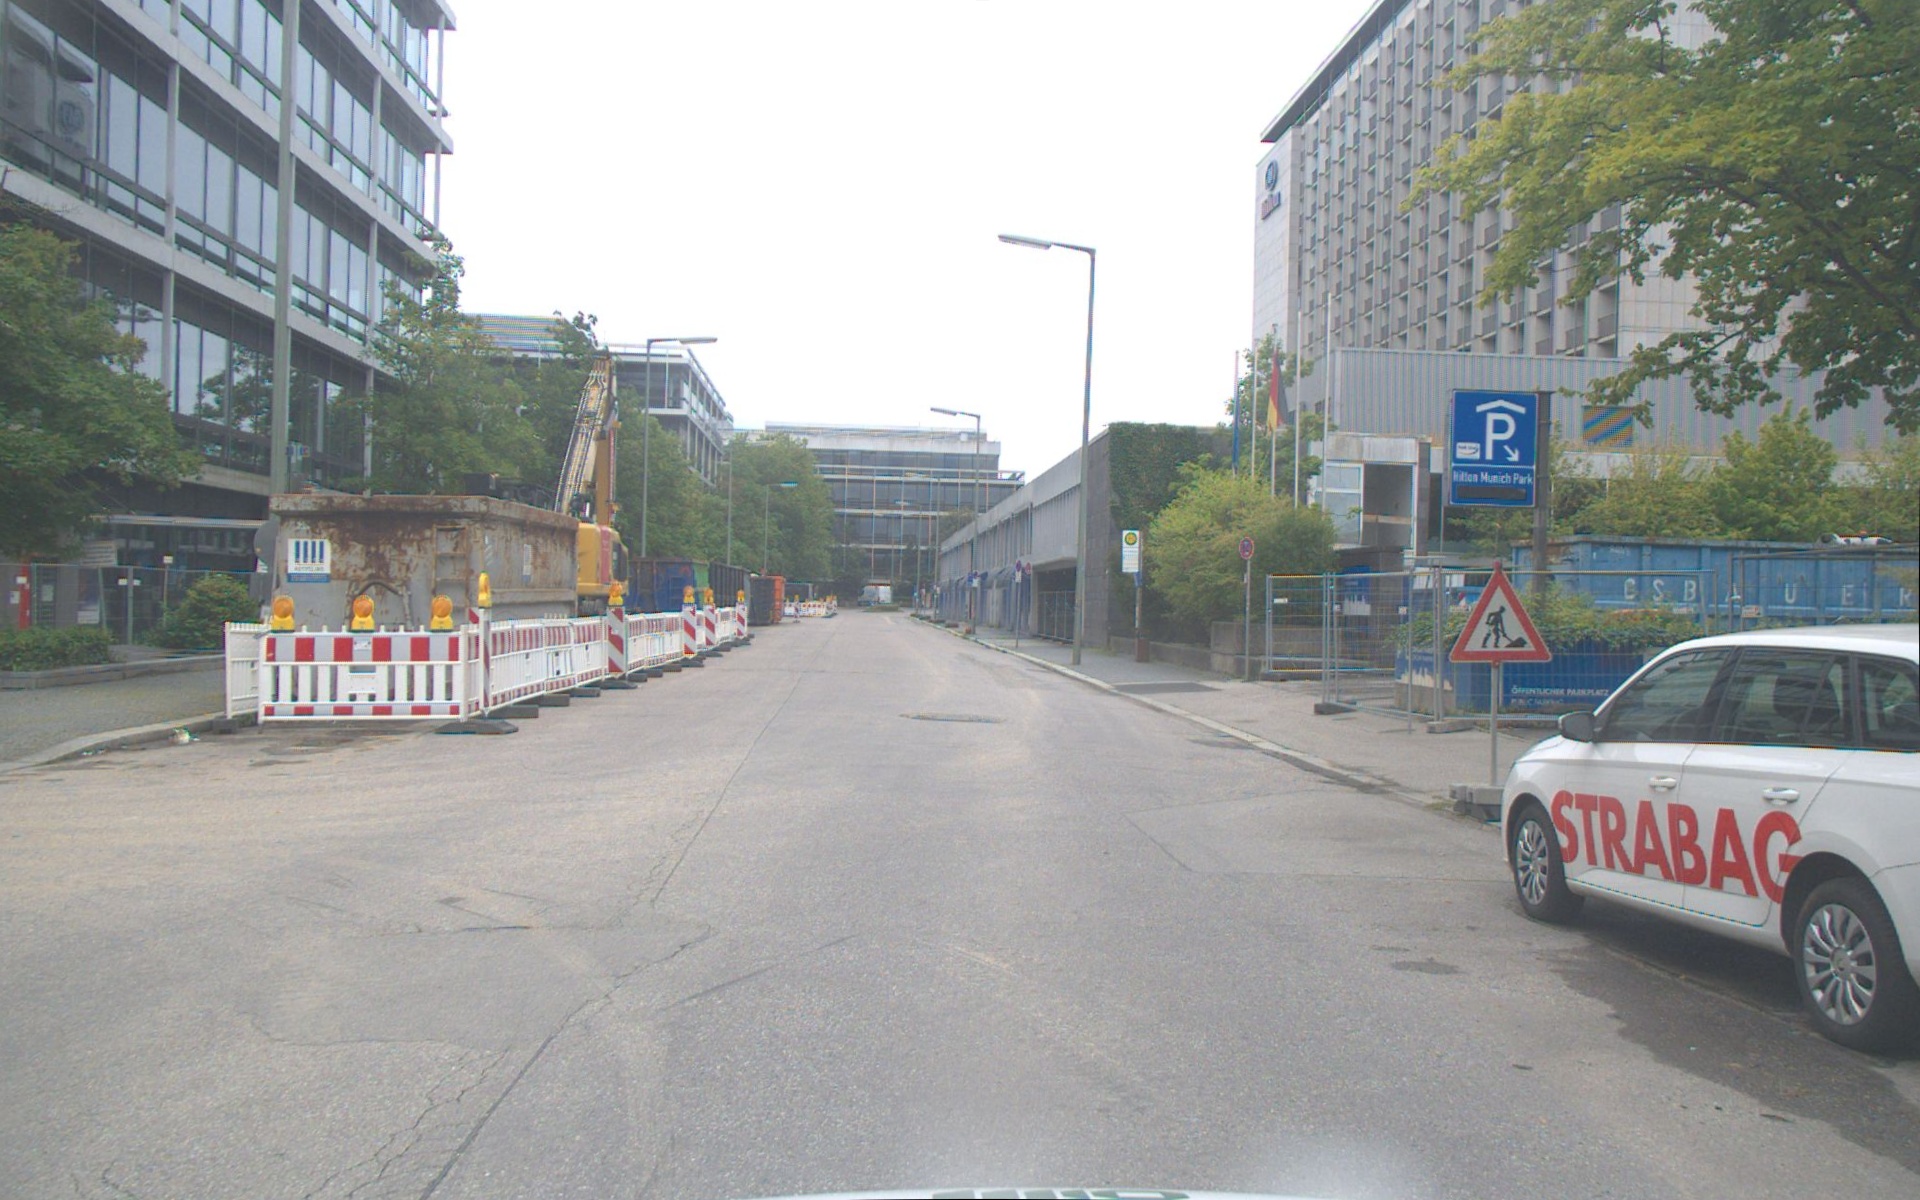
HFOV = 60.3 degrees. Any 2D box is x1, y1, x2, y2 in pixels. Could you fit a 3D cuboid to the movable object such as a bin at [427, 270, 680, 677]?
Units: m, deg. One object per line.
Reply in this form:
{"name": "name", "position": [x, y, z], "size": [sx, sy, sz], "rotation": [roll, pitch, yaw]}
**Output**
{"name": "movable object such as a bin", "position": [-7.716, -2.066, 33.268], "size": [2.847, 6.679, 11.774], "rotation": [1, 0, -4]}

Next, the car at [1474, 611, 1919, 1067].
{"name": "car", "position": [3.791, 0.826, 7.192], "size": [1.502, 1.518, 4.055], "rotation": [1, -1, -6]}

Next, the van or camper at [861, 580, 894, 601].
{"name": "van or camper", "position": [-10.301, -1.155, 206.500], "size": [2.062, 2.535, 5.019], "rotation": [1, 0, -29]}

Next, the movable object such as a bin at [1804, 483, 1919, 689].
{"name": "movable object such as a bin", "position": [20.238, -0.250, 32.122], "size": [7.086, 3.748, 3.848], "rotation": [0, 0, -33]}
